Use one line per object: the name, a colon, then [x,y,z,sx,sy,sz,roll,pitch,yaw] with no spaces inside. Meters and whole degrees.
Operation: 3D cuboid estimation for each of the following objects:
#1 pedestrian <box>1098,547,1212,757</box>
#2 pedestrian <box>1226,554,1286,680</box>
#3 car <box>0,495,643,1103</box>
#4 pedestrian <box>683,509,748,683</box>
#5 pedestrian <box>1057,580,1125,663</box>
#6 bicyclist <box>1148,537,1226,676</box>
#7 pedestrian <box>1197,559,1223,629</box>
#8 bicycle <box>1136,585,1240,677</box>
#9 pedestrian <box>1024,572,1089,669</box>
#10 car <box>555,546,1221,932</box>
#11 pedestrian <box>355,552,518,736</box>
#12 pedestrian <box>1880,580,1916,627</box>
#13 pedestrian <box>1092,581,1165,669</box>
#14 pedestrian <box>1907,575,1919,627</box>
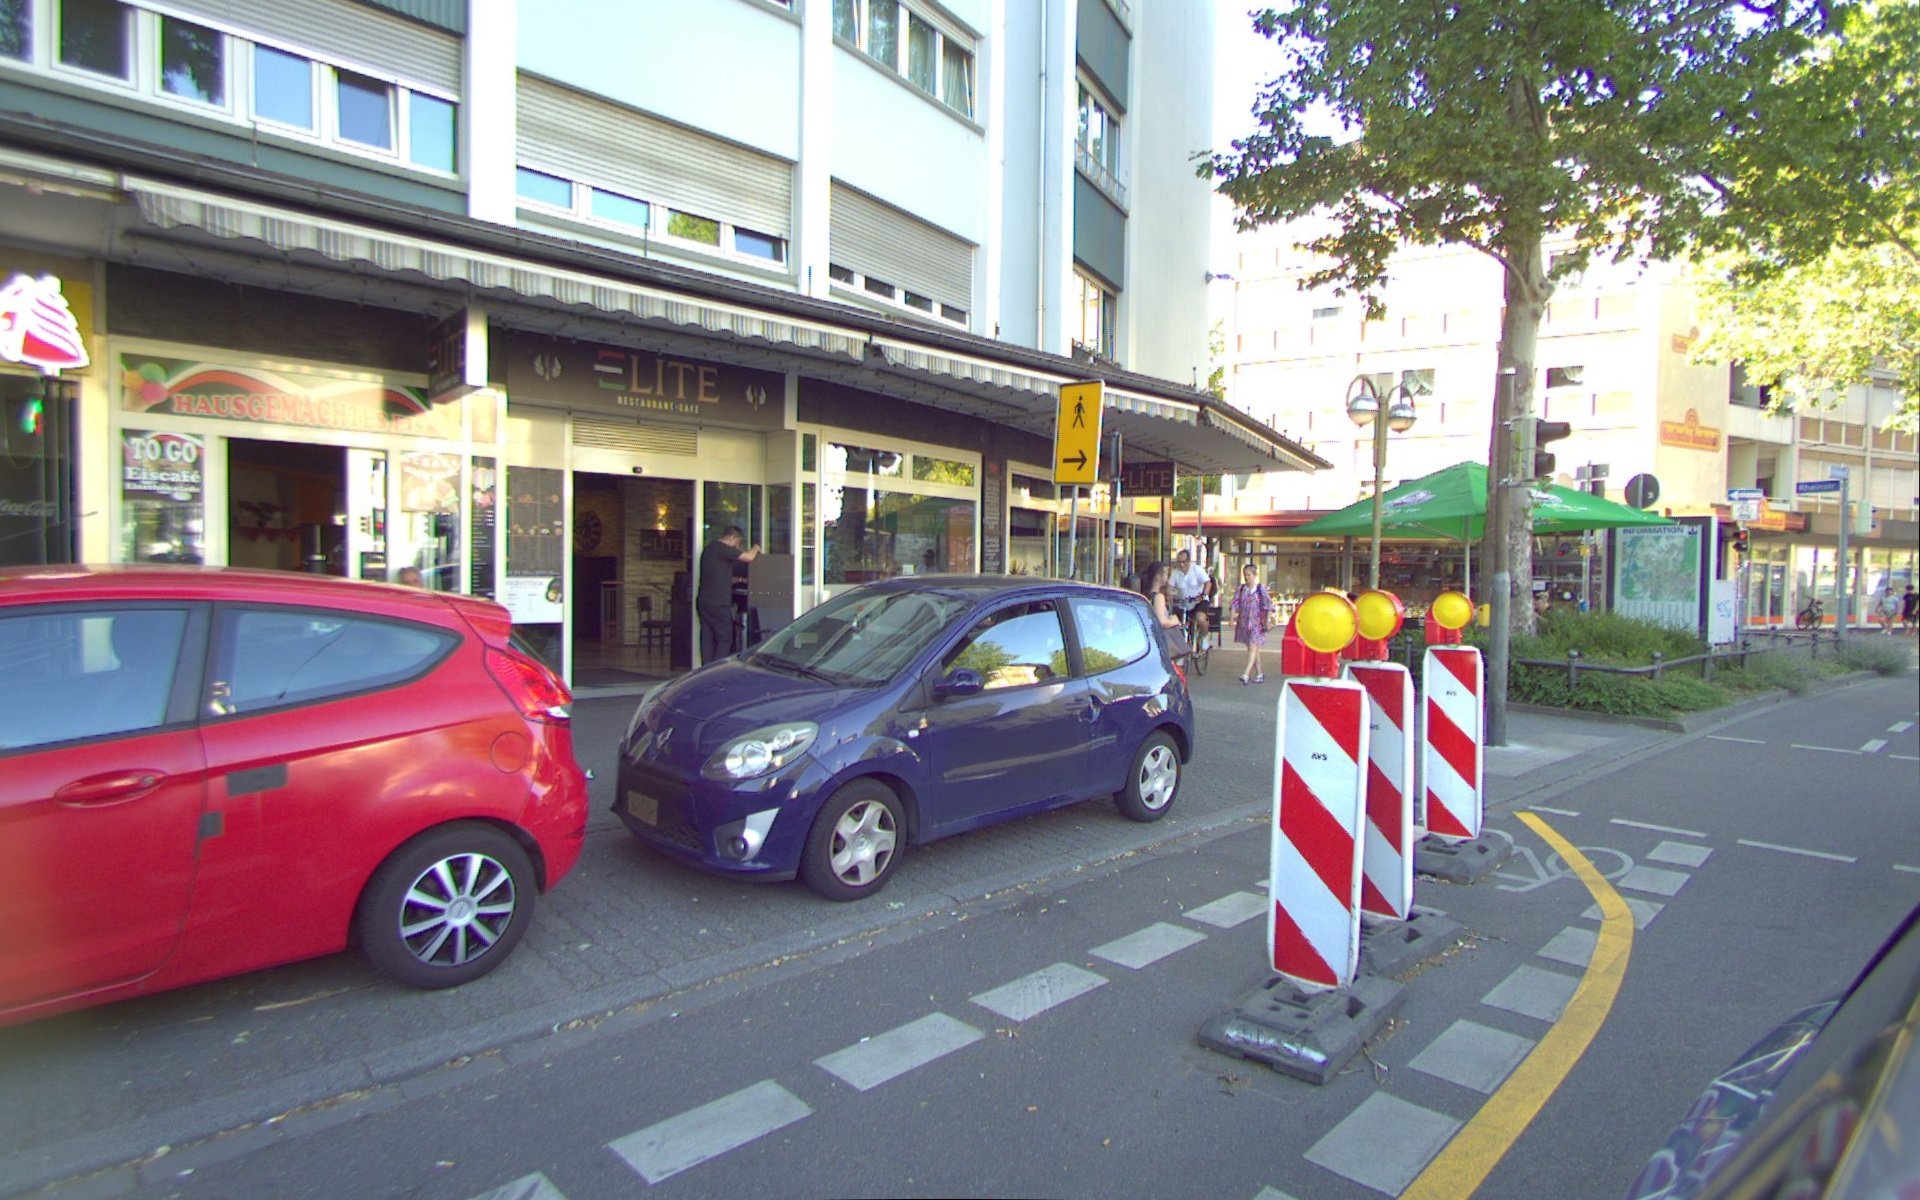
pedestrian: [1.639,0.399,8.502,0.783,1.667,0.583,-1,2,-42]
pedestrian: [4.010,0.208,13.699,0.624,1.657,0.525,2,1,34]
car: [-3.207,0.471,3.261,3.761,1.614,1.784,-1,5,-45]
pedestrian: [-2.610,-0.055,10.800,0.547,1.800,0.395,-1,4,-43]
pedestrian: [1.986,0.305,15.371,0.776,1.207,0.648,0,1,-34]
bicyclist: [3.152,0.062,14.015,0.748,1.848,0.915,2,3,34]
pedestrian: [7.239,-0.195,29.316,0.638,1.983,0.887,1,1,10]
bicycle: [3.216,0.411,14.153,0.747,1.143,1.864,5,2,33]
pedestrian: [1.361,0.272,14.376,0.685,1.323,0.793,1,1,-13]
car: [-0.244,0.514,5.932,3.551,1.485,1.769,-1,5,-44]
pedestrian: [-4.217,0.304,8.145,0.937,1.352,1.069,0,2,-41]
pedestrian: [29.810,0.097,32.170,0.520,1.455,0.630,0,1,-21]
pedestrian: [2.407,0.341,14.518,0.685,1.207,0.881,0,1,-18]
pedestrian: [30.079,0.037,31.537,0.520,1.605,0.630,0,1,-21]
